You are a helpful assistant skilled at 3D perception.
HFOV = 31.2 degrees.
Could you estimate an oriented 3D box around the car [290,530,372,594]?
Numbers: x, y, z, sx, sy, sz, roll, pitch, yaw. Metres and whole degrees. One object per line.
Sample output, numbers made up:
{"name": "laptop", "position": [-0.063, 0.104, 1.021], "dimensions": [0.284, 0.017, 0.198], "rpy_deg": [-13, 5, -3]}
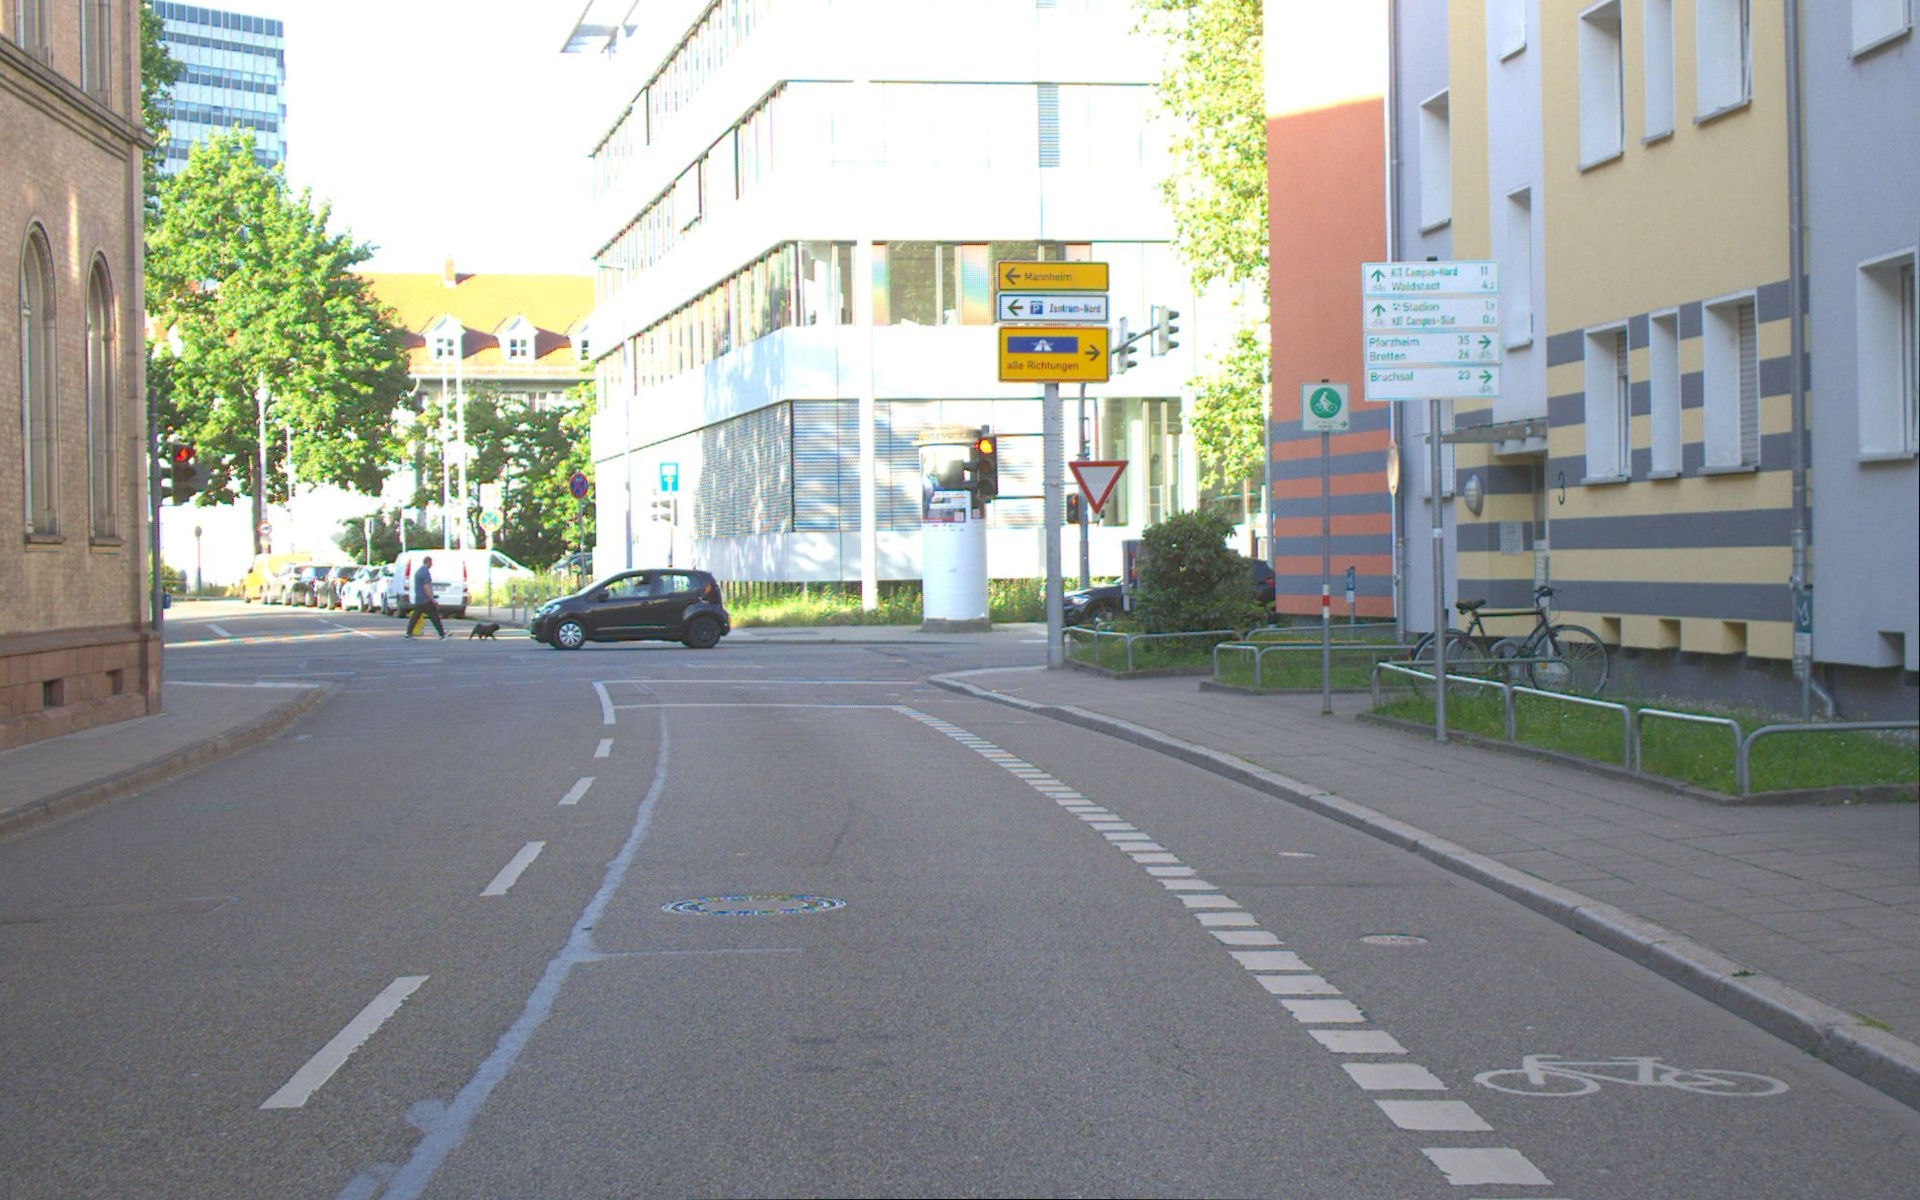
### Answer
{"name": "car", "position": [-21.705, -1.306, 118.440], "dimensions": [2.329, 2.105, 5.007], "rpy_deg": [1, 0, -15]}

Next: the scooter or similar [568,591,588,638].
{"name": "scooter or similar", "position": [-8.848, 0.329, 79.630], "dimensions": [0.325, 1.056, 1.143], "rpy_deg": [-1, 1, -13]}

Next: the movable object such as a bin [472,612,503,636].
{"name": "movable object such as a bin", "position": [-9.882, 0.501, 71.897], "dimensions": [0.589, 0.479, 0.286], "rpy_deg": [-1, 1, -17]}

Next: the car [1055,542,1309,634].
{"name": "car", "position": [4.141, -0.235, 64.413], "dimensions": [4.364, 1.627, 2.001], "rpy_deg": [-1, 1, -12]}

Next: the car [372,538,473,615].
{"name": "car", "position": [-15.339, -0.663, 97.914], "dimensions": [2.423, 2.105, 5.233], "rpy_deg": [1, 0, -13]}

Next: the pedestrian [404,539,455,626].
{"name": "pedestrian", "position": [-10.881, -0.350, 70.472], "dimensions": [0.926, 1.753, 0.848], "rpy_deg": [1, 0, -14]}

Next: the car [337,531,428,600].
{"name": "car", "position": [-18.371, -1.080, 109.208], "dimensions": [2.329, 2.105, 5.007], "rpy_deg": [1, 0, -15]}

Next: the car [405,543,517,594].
{"name": "car", "position": [-19.651, -1.217, 135.341], "dimensions": [3.986, 1.909, 1.920], "rpy_deg": [1, 0, -24]}

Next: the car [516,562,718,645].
{"name": "car", "position": [-6.230, 0.051, 62.321], "dimensions": [3.428, 1.441, 1.775], "rpy_deg": [-1, 0, -14]}

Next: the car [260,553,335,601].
{"name": "car", "position": [-24.739, -0.851, 128.264], "dimensions": [2.329, 1.727, 5.007], "rpy_deg": [1, 0, -15]}

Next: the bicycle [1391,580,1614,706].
{"name": "bicycle", "position": [4.641, 0.363, 29.462], "dimensions": [1.753, 1.000, 0.613], "rpy_deg": [-2, 0, -5]}
